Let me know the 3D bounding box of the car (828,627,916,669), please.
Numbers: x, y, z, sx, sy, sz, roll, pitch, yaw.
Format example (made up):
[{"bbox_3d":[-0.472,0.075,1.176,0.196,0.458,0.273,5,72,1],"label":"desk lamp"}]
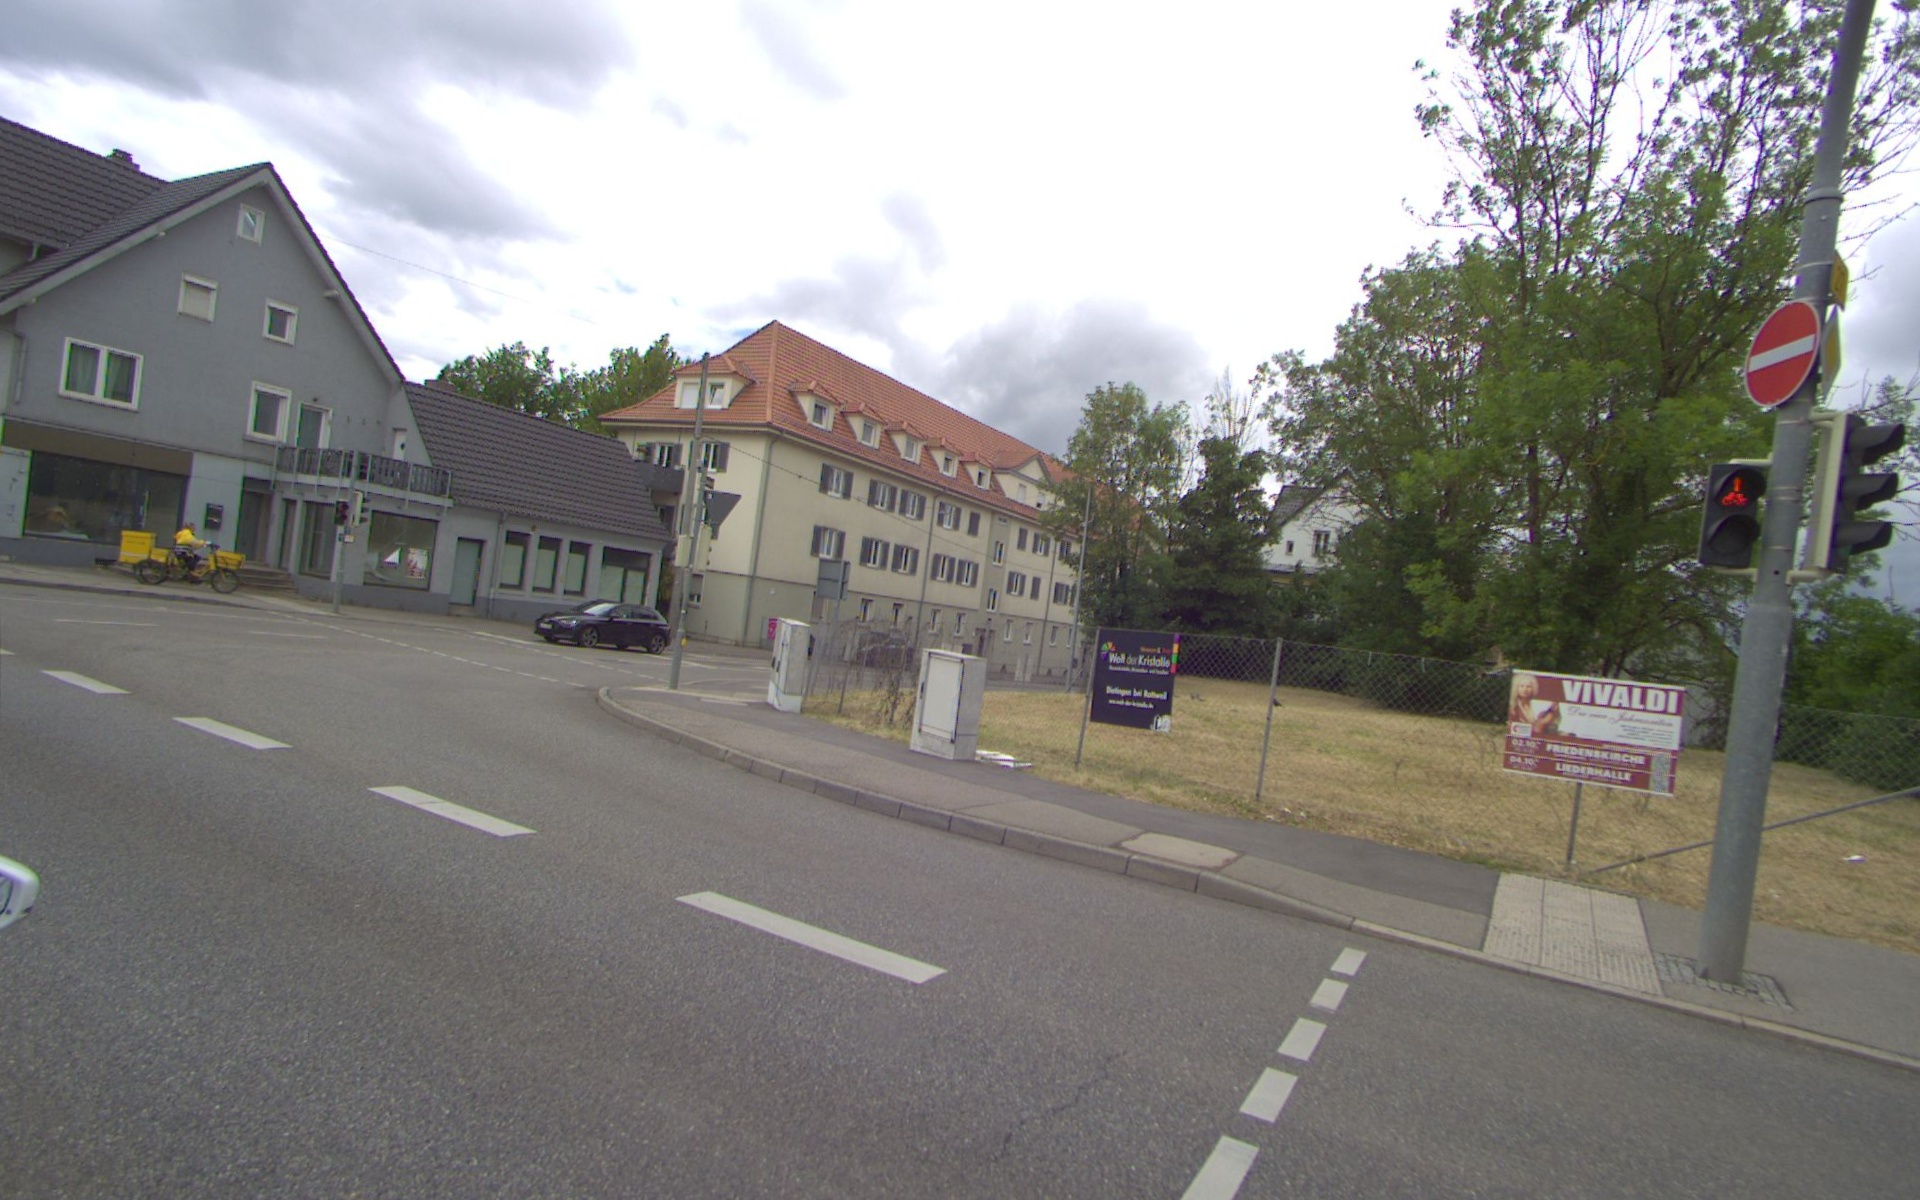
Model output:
[{"bbox_3d":[-4.101,2.286,47.514,1.966,1.480,4.088,8,-2,30],"label":"car"}]

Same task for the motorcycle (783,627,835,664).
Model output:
[{"bbox_3d":[-6.466,1.983,43.219,0.674,1.331,2.310,9,-1,32],"label":"motorcycle"}]

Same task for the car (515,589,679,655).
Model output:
[{"bbox_3d":[-10.766,0.710,30.175,1.876,1.437,4.353,6,-3,30],"label":"car"}]

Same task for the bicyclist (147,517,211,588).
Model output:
[{"bbox_3d":[-19.485,-1.180,25.126,0.927,1.618,0.957,8,-1,-26],"label":"bicyclist"}]

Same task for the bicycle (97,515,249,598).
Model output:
[{"bbox_3d":[-19.540,-1.067,25.087,2.656,1.525,0.956,11,0,-26],"label":"bicycle"}]
